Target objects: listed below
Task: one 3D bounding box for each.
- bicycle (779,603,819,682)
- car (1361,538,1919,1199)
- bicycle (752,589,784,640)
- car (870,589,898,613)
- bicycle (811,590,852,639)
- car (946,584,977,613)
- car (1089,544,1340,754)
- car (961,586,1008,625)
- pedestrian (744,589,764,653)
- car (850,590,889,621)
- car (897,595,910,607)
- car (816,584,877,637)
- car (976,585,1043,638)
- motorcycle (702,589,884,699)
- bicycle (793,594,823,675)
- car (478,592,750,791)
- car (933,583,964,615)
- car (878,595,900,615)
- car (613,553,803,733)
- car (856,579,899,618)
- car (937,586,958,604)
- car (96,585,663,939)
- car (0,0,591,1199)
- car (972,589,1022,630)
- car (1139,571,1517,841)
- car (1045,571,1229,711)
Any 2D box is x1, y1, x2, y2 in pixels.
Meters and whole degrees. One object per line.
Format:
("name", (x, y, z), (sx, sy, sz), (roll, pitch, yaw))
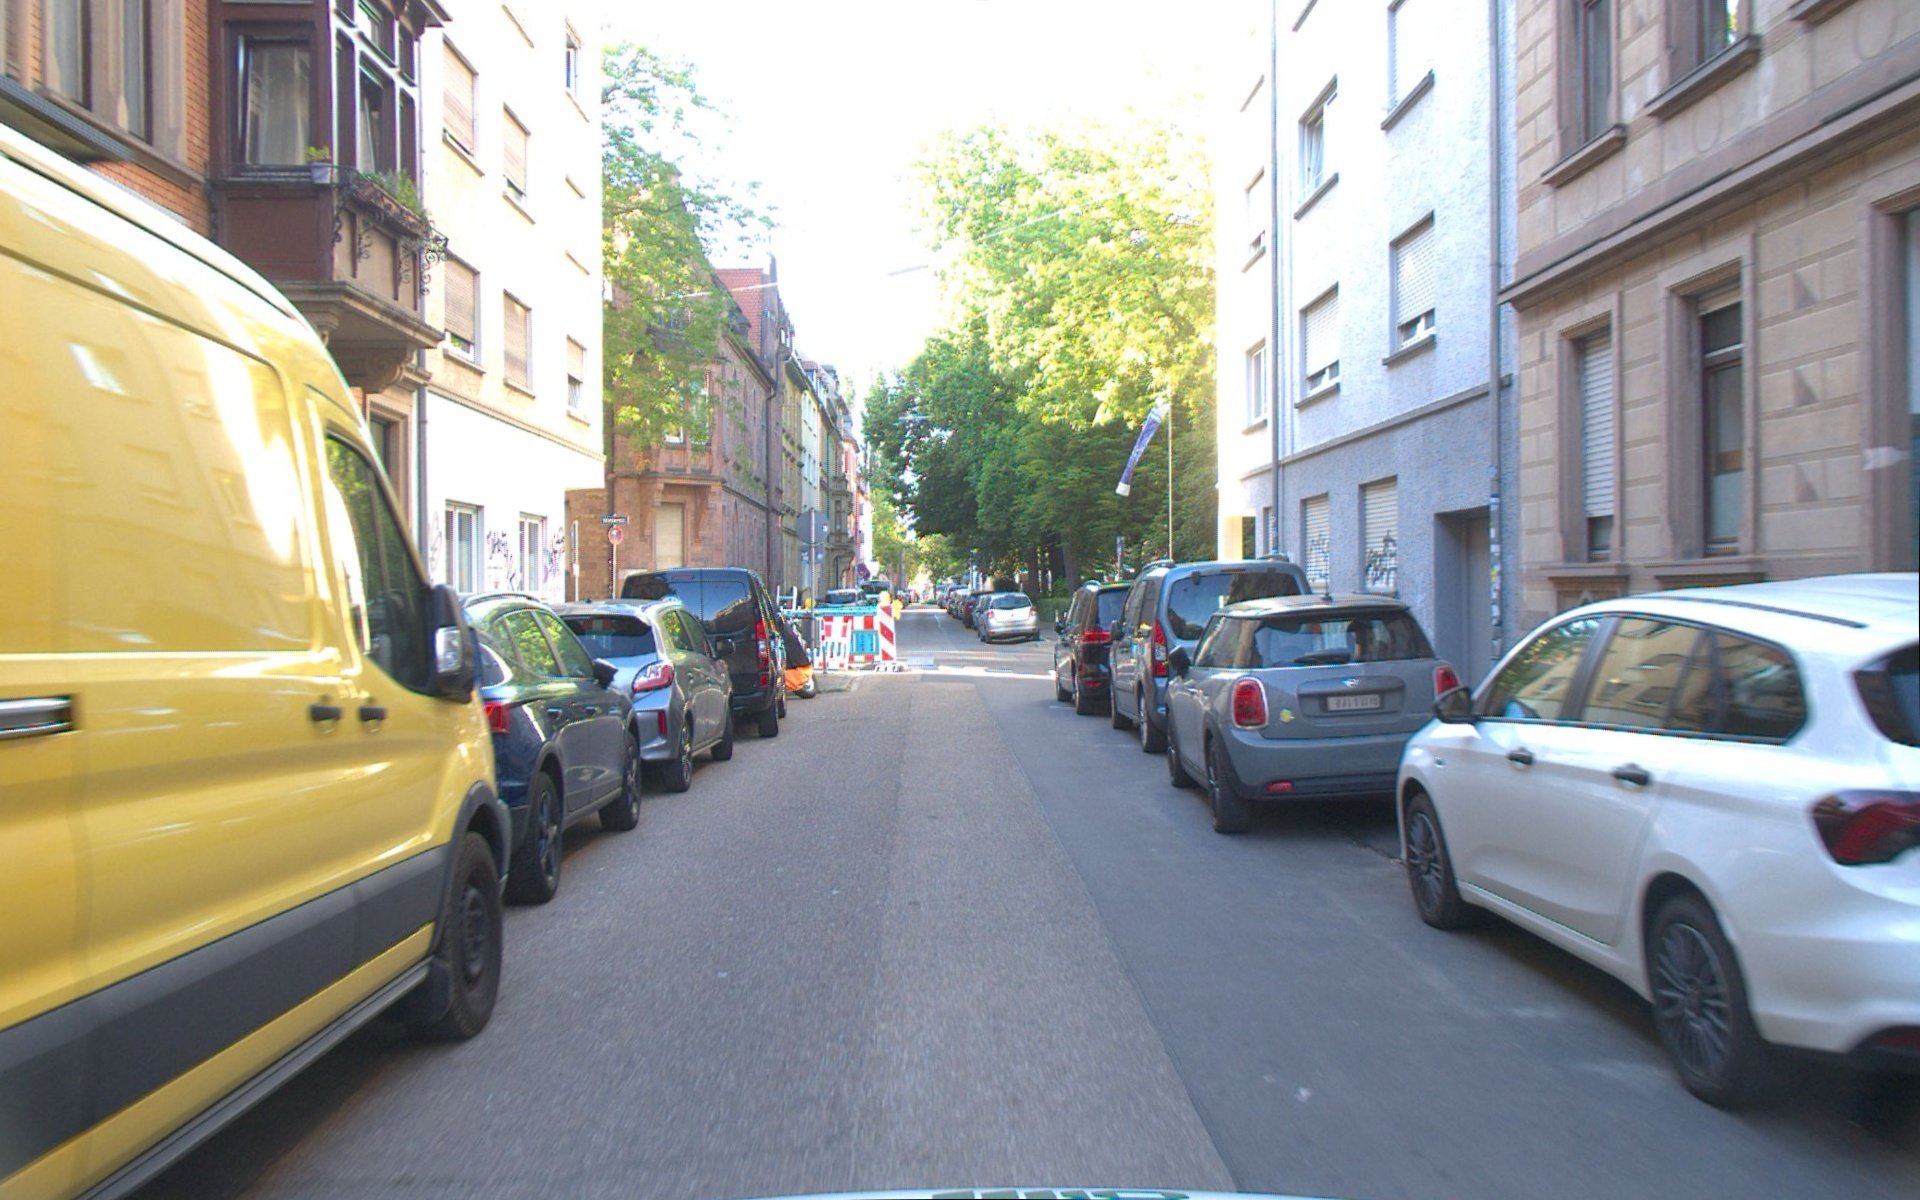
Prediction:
("bicycle", (-2.488, 0.639, 25.640), (0.416, 1.160, 1.666), (2, 0, 0))
("car", (3.033, 0.604, 6.216), (1.719, 1.544, 4.441), (-5, 1, -2))
("bicycle", (-5.622, 0.413, 48.594), (0.669, 1.448, 2.797), (-1, 0, -2))
("car", (-5.332, 0.066, 116.244), (1.864, 1.601, 3.998), (-1, 0, -2))
("bicycle", (-3.748, 0.416, 47.980), (0.672, 1.368, 2.491), (-1, 0, -16))
("car", (0.067, -0.098, 103.955), (1.793, 1.733, 3.998), (-1, 0, -2))
("car", (2.515, 0.418, 17.481), (1.718, 1.817, 4.722), (-3, 1, -1))
("car", (1.063, 0.254, 72.884), (1.856, 1.653, 3.998), (-1, 0, -2))
("pedestrian", (-5.781, 0.587, 46.487), (0.514, 1.771, 0.557), (-1, 0, -6))
("car", (-4.263, 0.239, 78.313), (1.735, 1.377, 3.999), (0, 0, -2))
("car", (-8.274, 0.178, 242.787), (1.953, 1.676, 3.999), (-1, 0, -2))
("car", (-3.909, 0.354, 57.588), (1.843, 1.737, 3.999), (-2, 0, -1))
("car", (1.518, 0.319, 51.696), (1.690, 1.549, 3.997), (-1, 0, -4))
("motorcycle", (-2.410, 0.609, 24.014), (2.484, 1.508, 0.895), (0, 0, -29))
("bicycle", (-2.486, 0.550, 27.088), (0.391, 1.248, 1.504), (-1, 2, -2))
("car", (-2.810, 0.674, 14.172), (1.643, 1.475, 3.644), (0, 0, -1))
("car", (-0.900, -0.076, 123.207), (2.117, 2.295, 4.523), (-1, 0, -2))
("car", (-6.255, 0.436, 145.780), (1.911, 1.739, 3.998), (-1, 0, -3))
("car", (-2.754, 0.424, 18.922), (1.783, 1.797, 4.332), (-1, 0, -4))
("car", (-4.737, -0.097, 95.616), (2.262, 2.151, 5.169), (-1, 0, 0))
("car", (-1.262, -0.497, 160.761), (1.953, 1.758, 3.999), (-1, 0, -2))
("car", (-3.018, 0.721, 9.592), (1.953, 1.579, 3.999), (-1, 0, -2))
("car", (-2.591, 0.285, 3.958), (2.131, 2.551, 5.876), (-3, 0, -2))
("car", (1.485, 0.361, 68.063), (1.804, 1.624, 3.999), (-1, 0, -2))
("car", (2.447, 0.606, 12.090), (1.718, 1.478, 4.288), (-5, 1, 0))
("car", (2.255, 0.501, 22.193), (1.862, 1.668, 4.389), (-1, 0, -2))
